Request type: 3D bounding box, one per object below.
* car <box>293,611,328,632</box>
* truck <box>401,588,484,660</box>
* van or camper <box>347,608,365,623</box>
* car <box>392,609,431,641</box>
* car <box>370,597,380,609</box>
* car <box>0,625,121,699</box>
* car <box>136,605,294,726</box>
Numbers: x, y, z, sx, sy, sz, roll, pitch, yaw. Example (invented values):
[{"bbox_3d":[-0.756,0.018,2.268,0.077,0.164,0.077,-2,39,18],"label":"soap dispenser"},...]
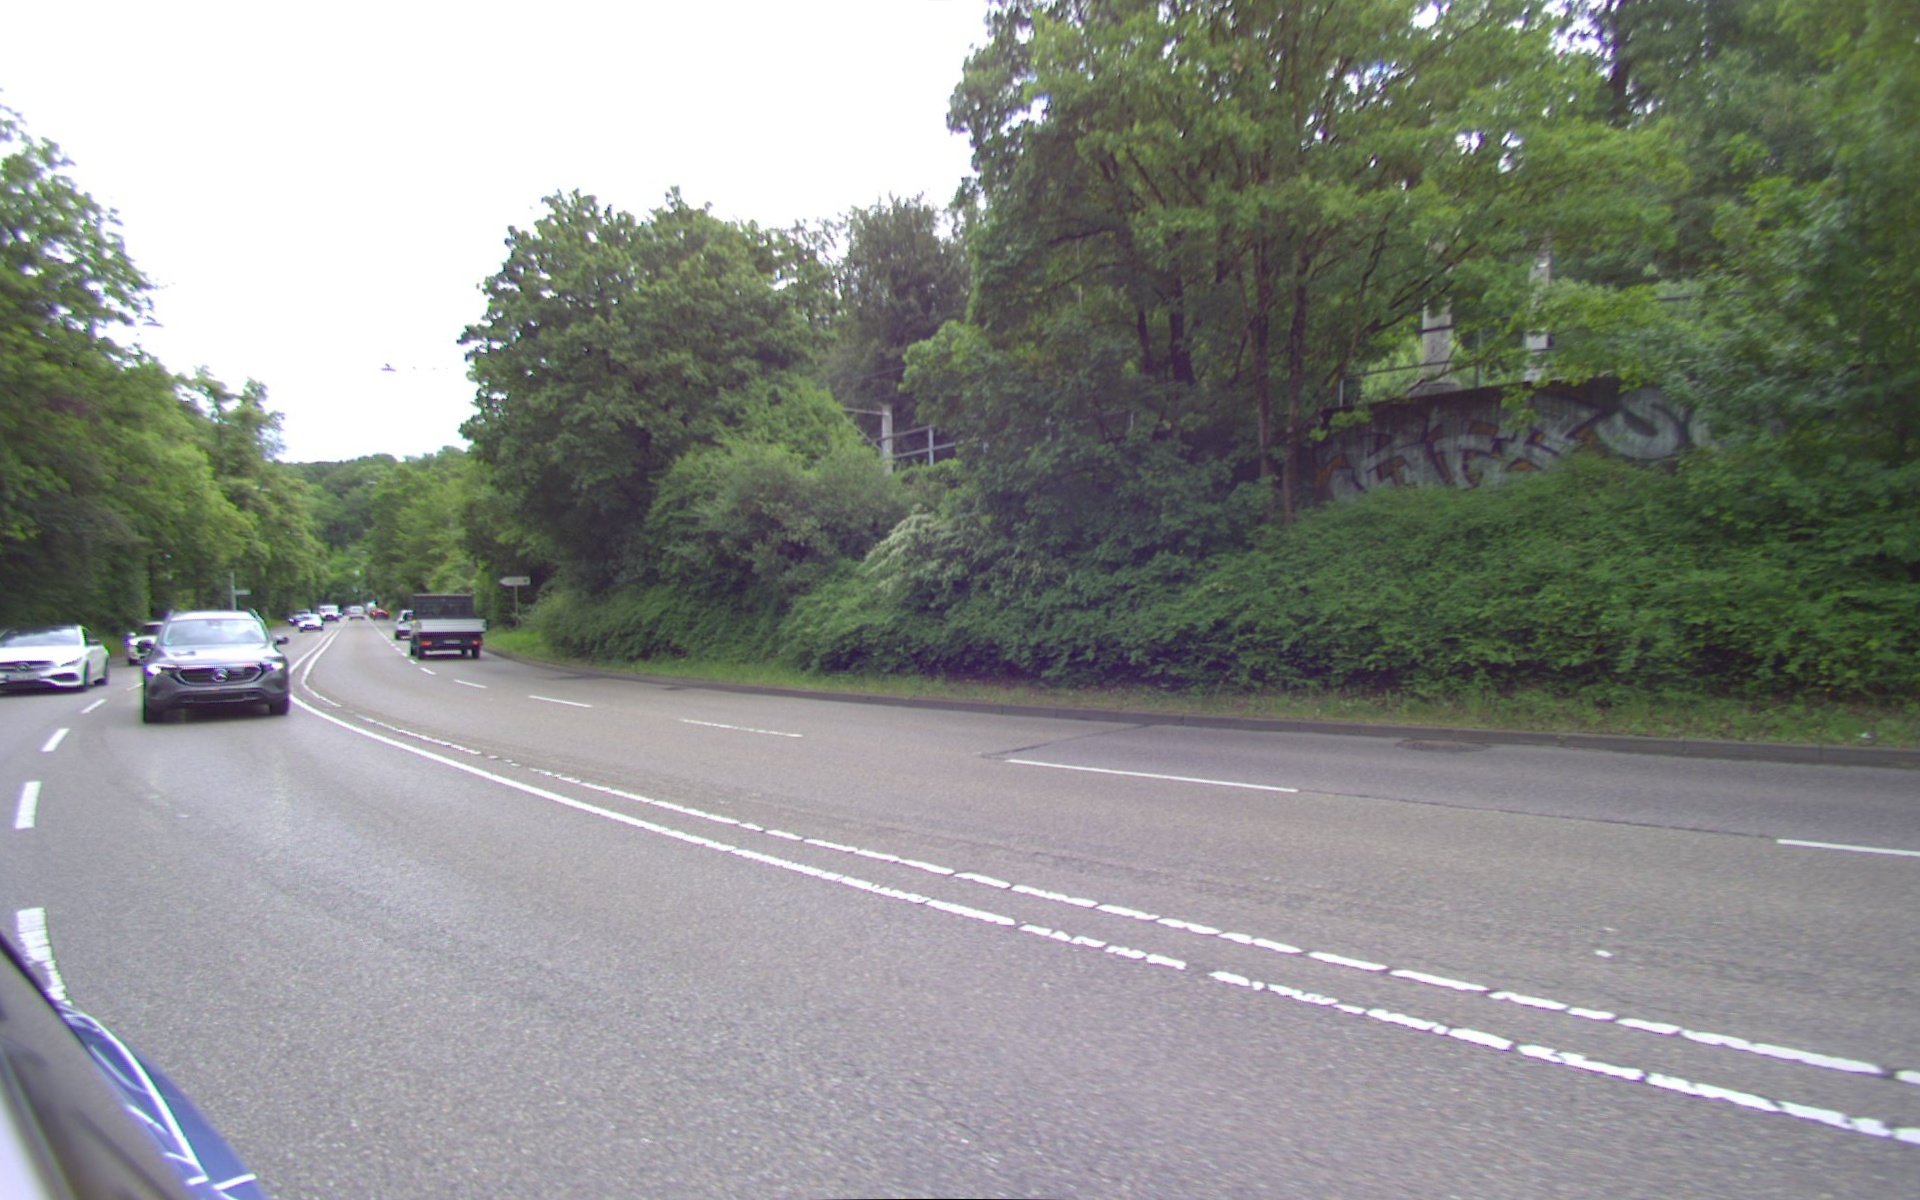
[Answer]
[{"bbox_3d":[-53.569,1.779,83.446,1.673,1.594,4.005,-5,2,-42],"label":"car"},{"bbox_3d":[-19.002,0.855,36.981,2.131,2.389,6.697,-1,-1,-32],"label":"truck"},{"bbox_3d":[-87.508,2.215,146.564,1.966,2.029,5.385,5,-3,-29],"label":"van or camper"},{"bbox_3d":[-31.234,1.434,57.694,1.830,1.707,4.450,2,-2,-27],"label":"car"},{"bbox_3d":[-128.036,0.724,221.555,1.861,2.575,4.929,0,0,-31],"label":"car"},{"bbox_3d":[-19.399,1.257,21.435,1.866,1.306,4.340,-3,1,-31],"label":"car"},{"bbox_3d":[-12.048,0.934,16.369,1.842,1.675,4.201,-1,0,-37],"label":"car"}]
